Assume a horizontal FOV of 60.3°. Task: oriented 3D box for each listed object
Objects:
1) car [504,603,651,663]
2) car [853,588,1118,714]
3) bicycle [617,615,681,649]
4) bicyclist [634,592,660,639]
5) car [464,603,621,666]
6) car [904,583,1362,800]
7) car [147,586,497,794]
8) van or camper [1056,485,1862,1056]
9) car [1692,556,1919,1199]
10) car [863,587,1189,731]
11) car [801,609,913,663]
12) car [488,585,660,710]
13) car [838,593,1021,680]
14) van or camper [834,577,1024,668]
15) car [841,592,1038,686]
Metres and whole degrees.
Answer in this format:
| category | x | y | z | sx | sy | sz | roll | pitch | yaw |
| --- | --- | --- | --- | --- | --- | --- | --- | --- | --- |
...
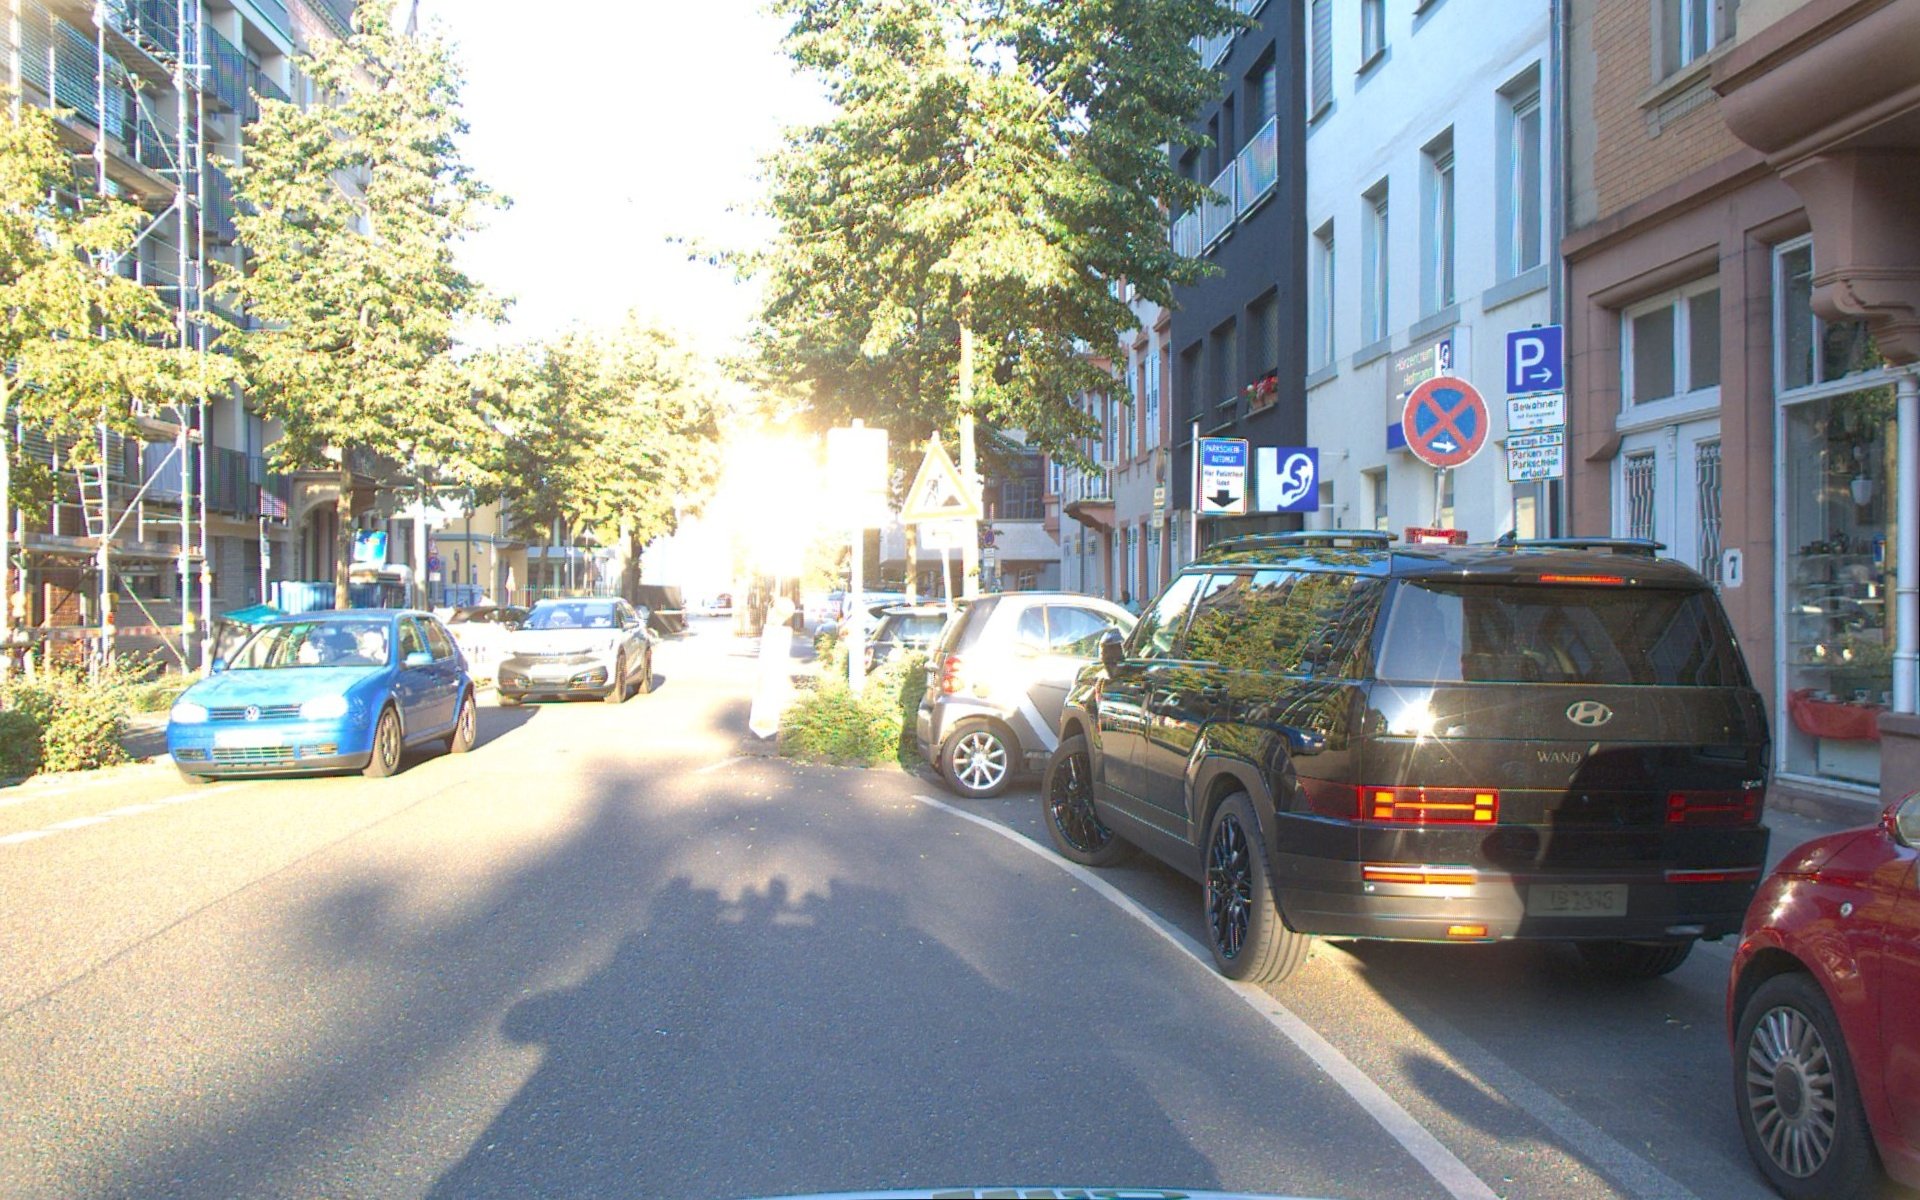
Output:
| category | x | y | z | sx | sy | sz | roll | pitch | yaw |
| --- | --- | --- | --- | --- | --- | --- | --- | --- | --- |
| car | -11.219 | 0.953 | 48.703 | 3.906 | 1.713 | 1.890 | 0 | 0 | -2 |
| car | 0.312 | 0.712 | 23.859 | 3.614 | 1.699 | 1.856 | 1 | 0 | -6 |
| bicycle | -10.884 | 1.112 | 57.919 | 2.223 | 1.152 | 0.515 | 0 | 0 | 17 |
| bicyclist | -10.951 | 0.525 | 57.945 | 0.745 | 1.634 | 0.499 | 0 | 0 | 17 |
| car | -11.570 | 0.936 | 45.996 | 3.906 | 1.713 | 1.890 | 0 | 0 | -2 |
| car | 1.350 | 0.674 | 13.400 | 3.409 | 1.603 | 1.503 | 0 | 0 | -13 |
| car | -5.611 | 0.706 | 15.117 | 1.654 | 1.590 | 4.117 | -2 | 0 | -1 |
| van or camper | 1.825 | 0.548 | 7.689 | 1.854 | 1.839 | 4.451 | 0 | 0 | -9 |
| car | 2.938 | 0.710 | 3.113 | 1.495 | 1.597 | 3.420 | 1 | 0 | -2 |
| car | 0.773 | 0.729 | 21.047 | 3.918 | 1.699 | 1.856 | 1 | 0 | -6 |
| car | -3.182 | 1.114 | 51.752 | 1.817 | 1.595 | 3.691 | 1 | 0 | 29 |
| car | -5.951 | 0.679 | 25.997 | 1.836 | 1.727 | 4.318 | -2 | 0 | -3 |
| car | -0.674 | 0.736 | 34.099 | 3.614 | 1.699 | 1.856 | 1 | 0 | -6 |
| van or camper | -0.768 | 0.532 | 39.194 | 4.354 | 2.041 | 1.856 | 1 | 0 | -6 |
| car | -0.438 | 0.727 | 31.701 | 3.614 | 1.699 | 1.856 | 1 | 0 | -6 |
